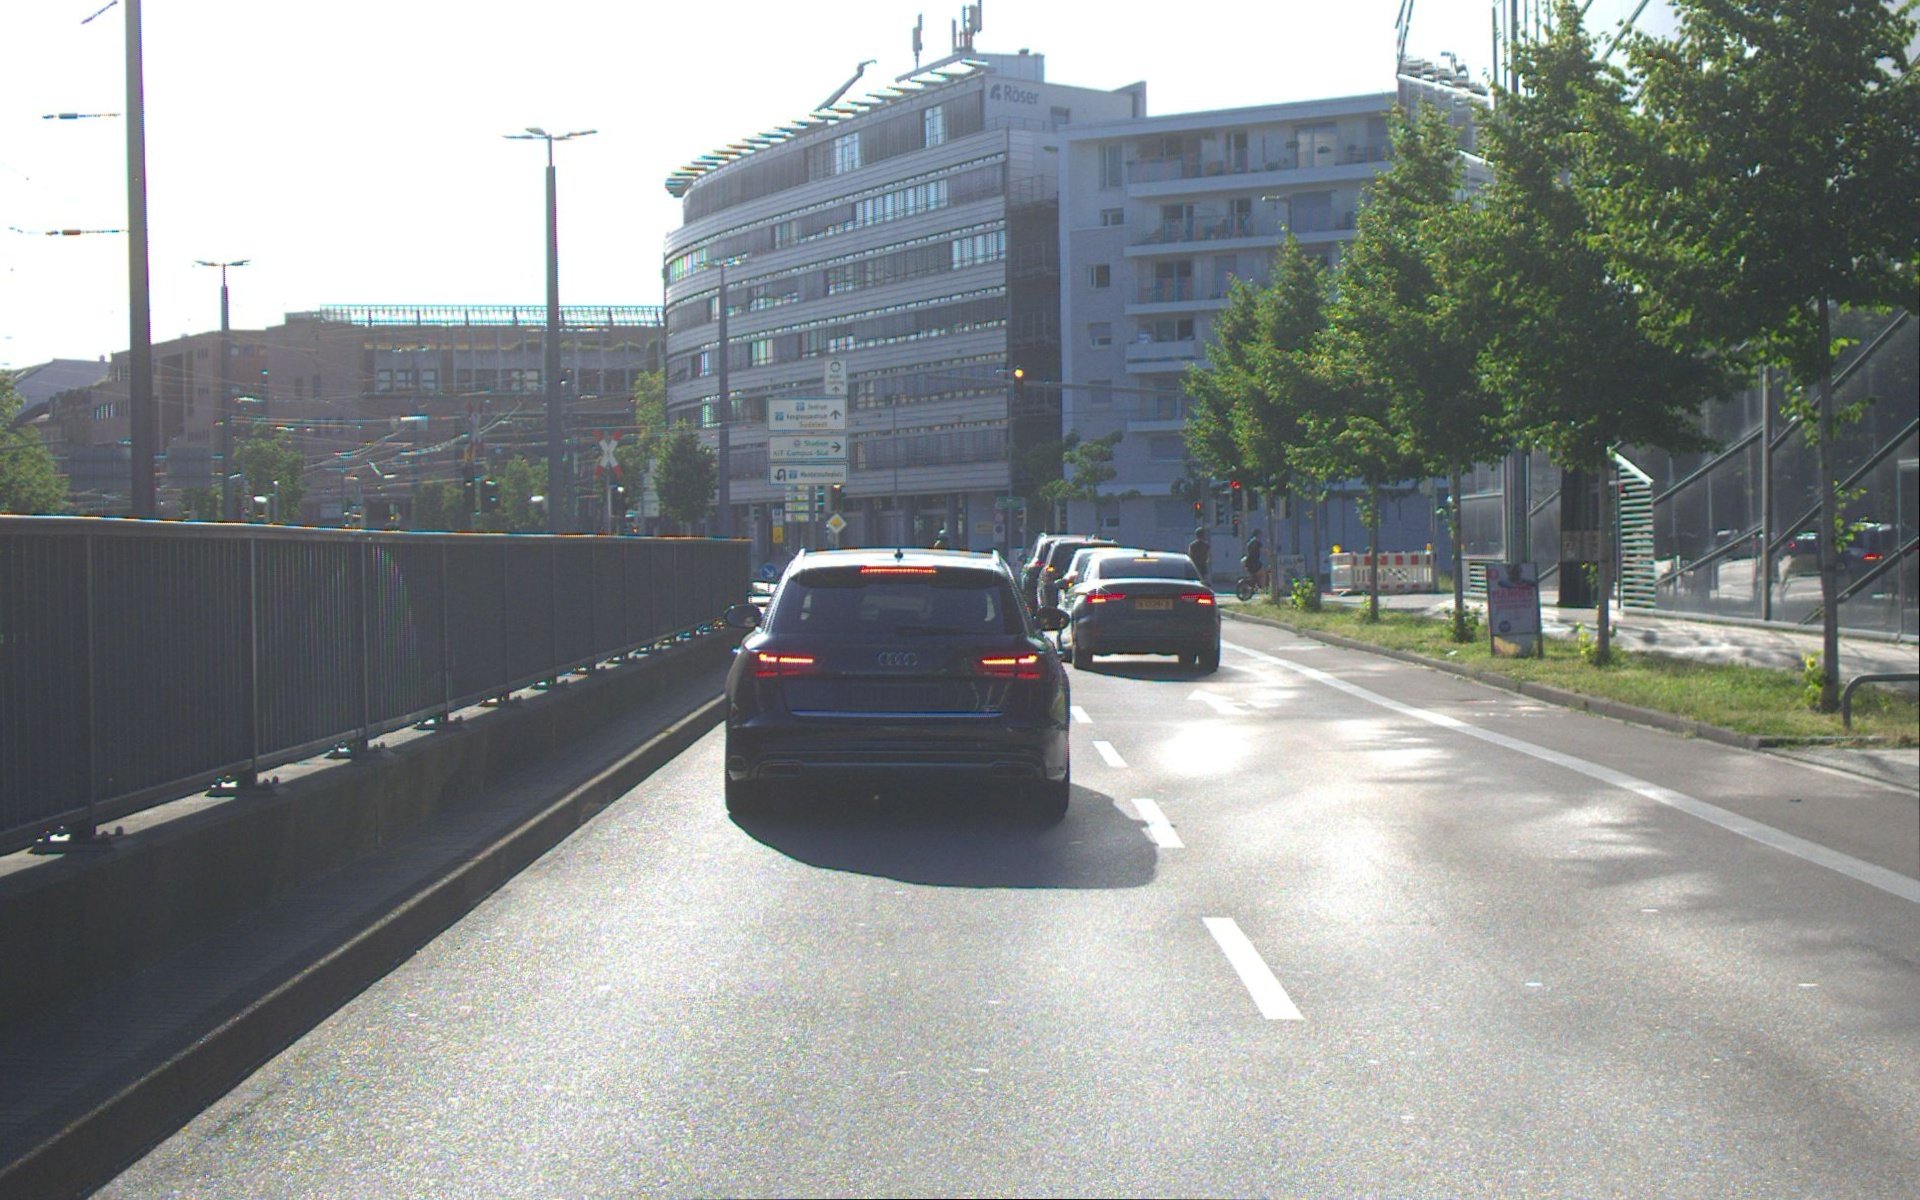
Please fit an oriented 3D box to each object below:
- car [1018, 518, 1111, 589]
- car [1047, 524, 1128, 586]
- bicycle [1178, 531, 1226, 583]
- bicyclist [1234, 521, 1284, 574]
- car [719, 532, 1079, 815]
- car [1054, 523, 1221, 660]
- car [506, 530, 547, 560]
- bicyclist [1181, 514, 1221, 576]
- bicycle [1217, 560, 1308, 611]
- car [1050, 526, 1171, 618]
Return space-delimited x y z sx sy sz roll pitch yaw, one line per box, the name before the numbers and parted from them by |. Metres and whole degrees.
car | 2.309 -1.047 76.286 1.993 1.460 4.000 1 2 2
car | 3.229 -1.156 87.409 1.993 1.460 4.000 1 2 2
bicycle | 5.695 -1.026 81.071 0.724 1.180 2.094 -2 1 -7
bicyclist | 7.427 -1.302 85.395 1.032 1.264 0.727 -2 1 -15
car | -0.336 0.337 19.844 1.812 1.422 4.690 -1 1 -1
car | 2.115 -0.143 41.866 1.853 1.541 4.000 1 1 1
car | -25.769 -3.287 204.481 1.993 1.744 4.001 -2 1 -2
bicyclist | 5.682 -1.299 81.085 0.724 1.413 0.892 -2 1 -7
bicycle | 7.522 -0.359 85.419 2.086 1.180 0.727 -2 1 -15
car | 2.557 -0.508 59.128 1.993 1.460 4.000 1 2 1
